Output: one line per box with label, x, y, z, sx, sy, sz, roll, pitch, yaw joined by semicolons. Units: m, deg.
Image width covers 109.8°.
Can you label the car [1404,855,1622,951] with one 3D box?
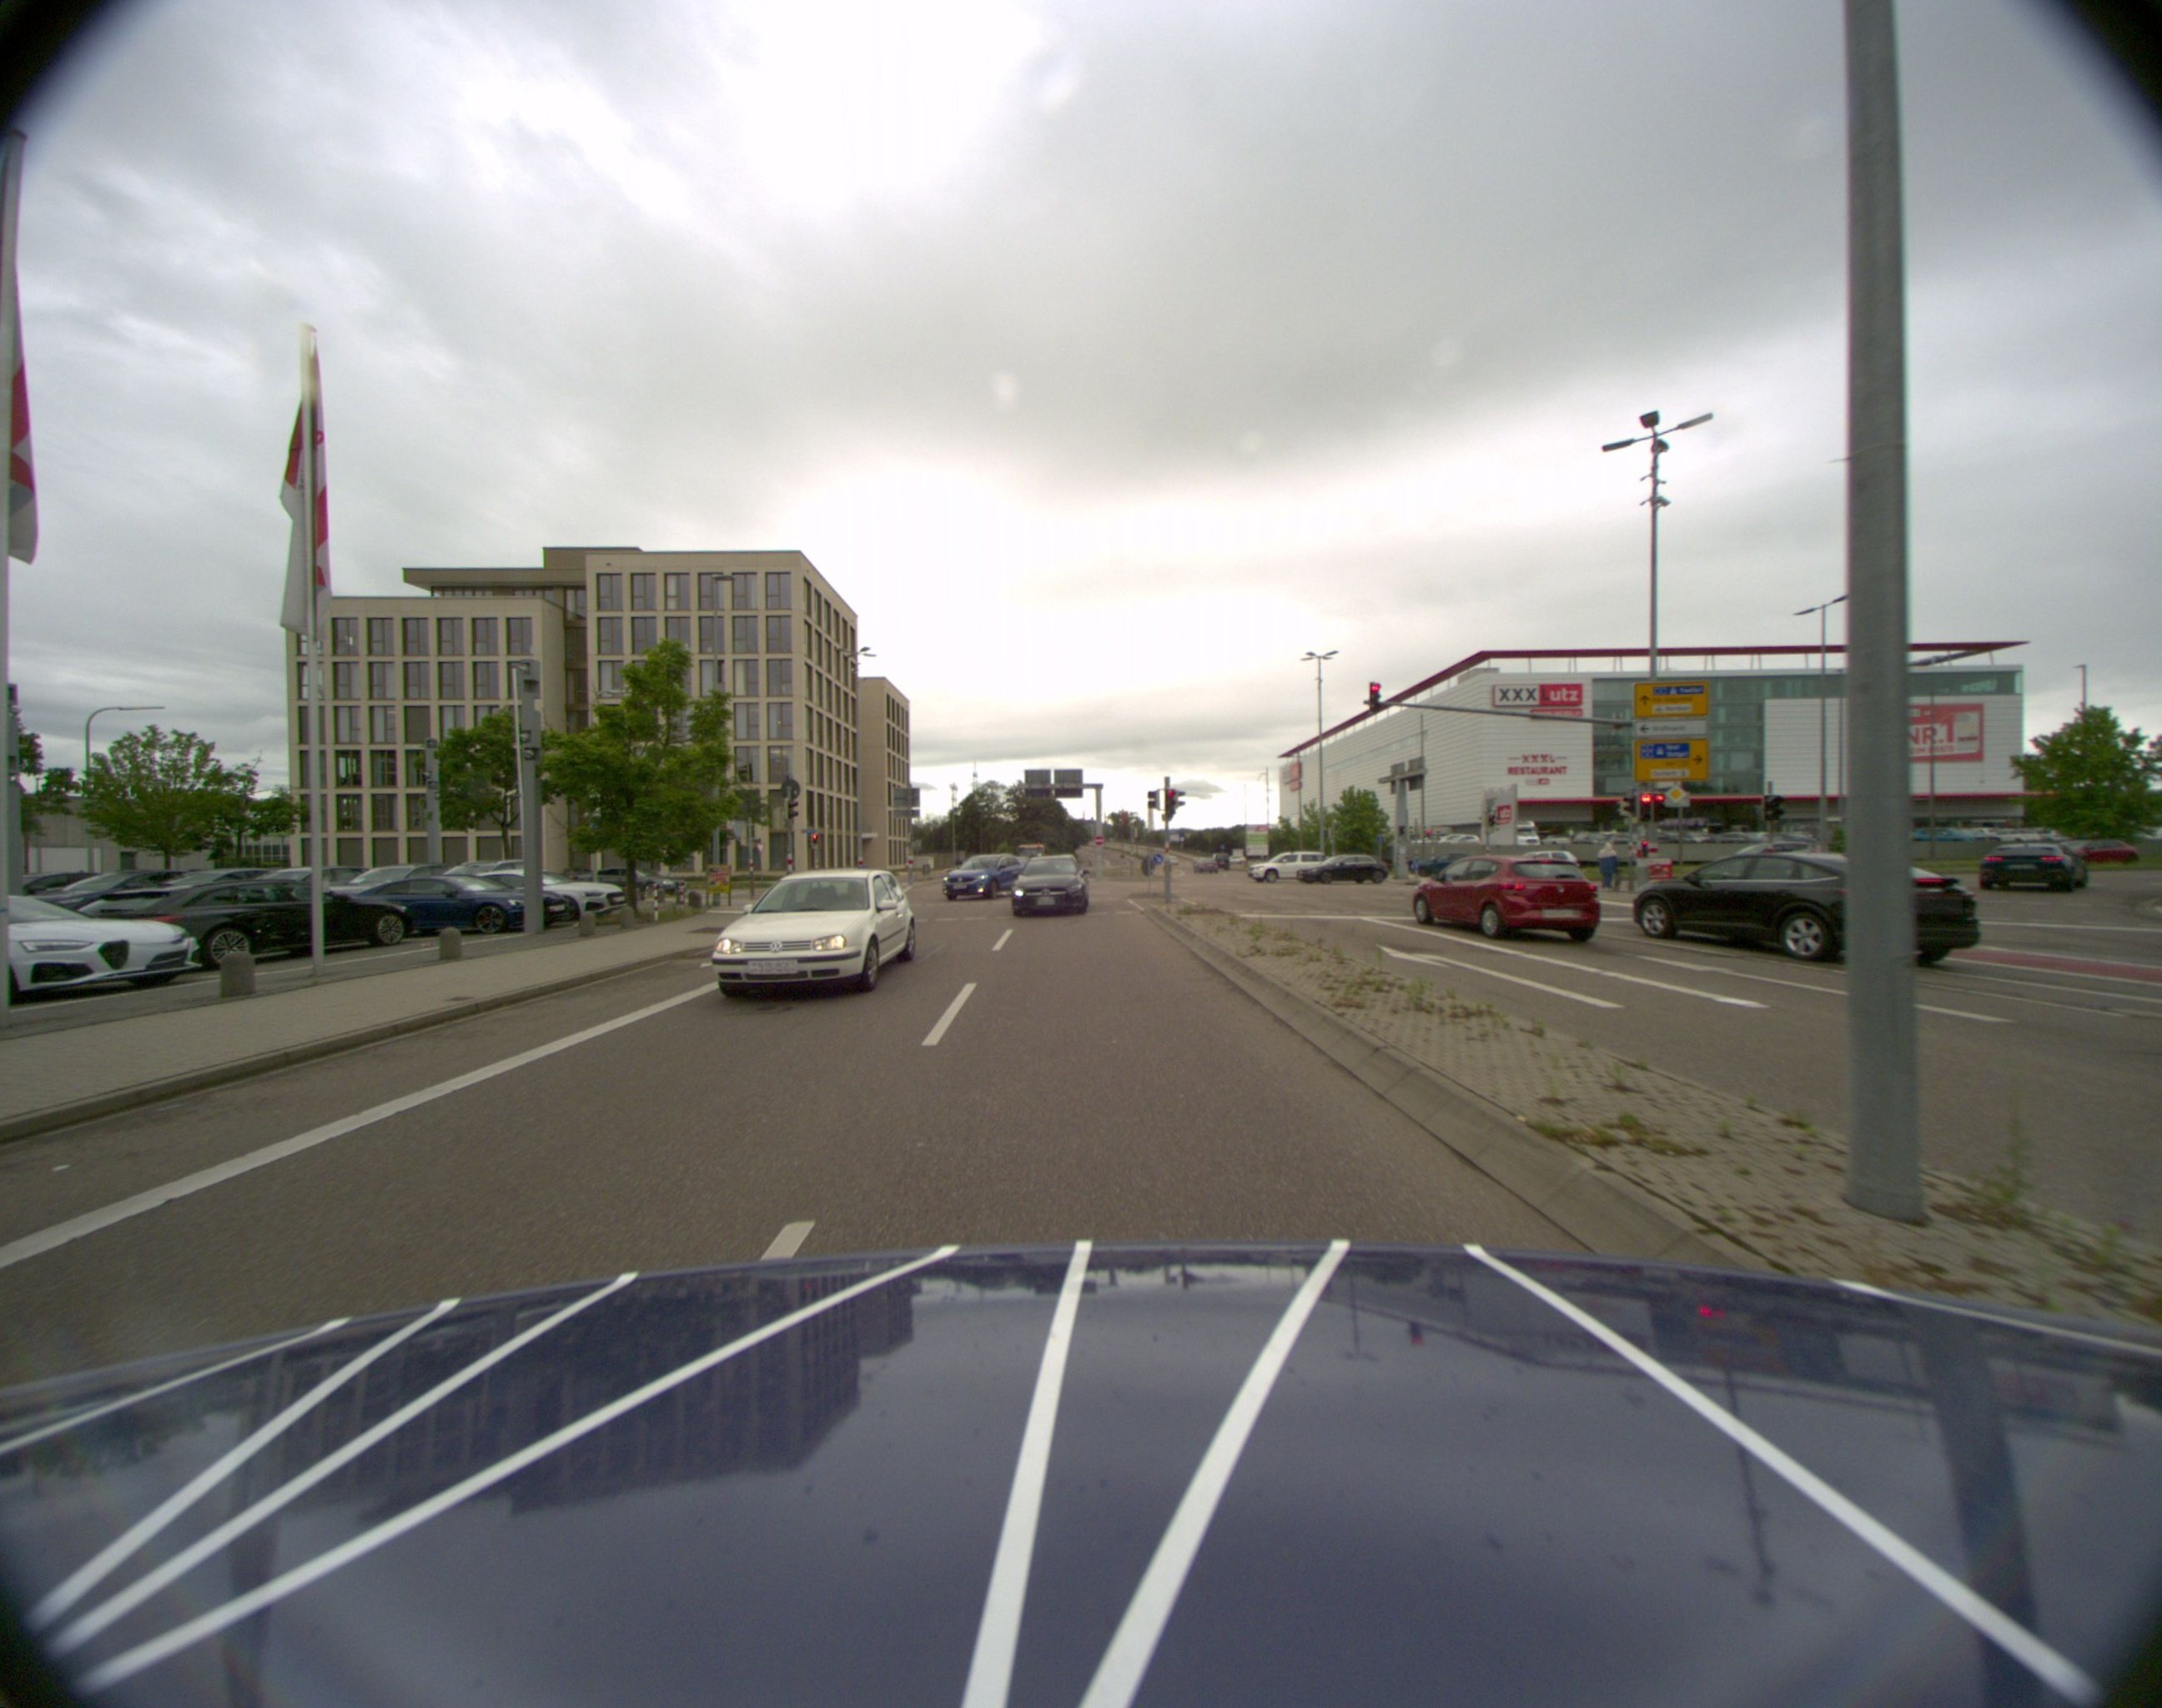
car;7.926;0.806;14.454;1.739;1.479;4.077;0;1;-1

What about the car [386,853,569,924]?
car;-18.891;0.994;24.155;1.999;1.852;4.785;-2;2;-2

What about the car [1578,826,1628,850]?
car;47.432;-1.435;69.141;1.868;1.936;3.870;-2;-1;1

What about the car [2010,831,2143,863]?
car;50.811;-0.347;38.857;4.215;1.407;1.803;-2;-1;2

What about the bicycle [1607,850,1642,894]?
bicycle;18.185;0.588;25.454;0.595;1.388;1.937;1;2;26

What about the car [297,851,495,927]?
car;-21.462;0.995;24.158;1.999;2.002;4.714;-2;2;-1

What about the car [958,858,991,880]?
car;-7.507;1.074;53.899;1.750;1.423;4.099;-2;-2;-1

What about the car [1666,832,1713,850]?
car;67.189;-1.396;83.986;1.999;1.728;4.001;-2;-1;0

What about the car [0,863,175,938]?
car;-32.424;1.402;23.854;1.999;2.002;4.906;-2;2;-2

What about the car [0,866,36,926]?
car;-37.882;1.530;24.333;1.999;2.002;4.906;-2;2;-2

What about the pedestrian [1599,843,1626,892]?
pedestrian;17.934;0.434;25.659;0.639;1.617;0.693;0;2;26

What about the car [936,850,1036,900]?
car;-3.311;0.759;27.474;1.844;1.612;4.339;-2;-2;19

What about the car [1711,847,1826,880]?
car;35.633;0.499;39.473;4.215;1.564;1.803;-2;-1;2

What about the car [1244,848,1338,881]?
car;11.091;0.567;40.272;4.373;1.615;1.800;-2;-1;-4

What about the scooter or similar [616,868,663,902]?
scooter or similar;-16.011;1.125;27.560;1.557;1.211;0.560;-1;-2;17

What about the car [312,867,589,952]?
car;-14.391;1.222;17.593;4.514;1.478;2.069;-4;2;-2

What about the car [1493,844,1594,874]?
car;24.498;0.289;40.344;4.215;1.407;1.803;-2;-1;2

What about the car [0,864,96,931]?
car;-35.135;1.462;23.841;1.999;2.002;4.906;-2;2;-2

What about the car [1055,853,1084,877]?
car;-0.887;0.800;54.366;1.904;1.633;4.068;-2;-2;-3

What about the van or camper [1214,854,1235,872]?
van or camper;16.643;1.066;87.915;2.160;2.001;4.949;1;-1;12

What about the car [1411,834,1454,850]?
car;41.298;-1.396;89.361;4.256;1.665;1.778;-2;-1;2

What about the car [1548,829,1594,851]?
car;47.528;-1.308;73.817;1.868;1.936;3.869;-2;-1;-1

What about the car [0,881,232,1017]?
car;-14.029;1.246;9.702;4.195;1.477;1.852;-4;0;0

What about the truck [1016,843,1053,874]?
truck;-4.219;0.453;69.716;2.819;2.622;6.677;-2;-2;0

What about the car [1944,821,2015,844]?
car;79.375;-1.857;67.144;3.997;1.783;1.891;-2;-1;0

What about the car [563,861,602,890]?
car;-33.101;1.409;50.453;1.892;1.758;4.123;-2;0;-36

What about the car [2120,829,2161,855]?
car;85.571;-1.018;59.635;1.998;2.001;4.328;-2;-1;0

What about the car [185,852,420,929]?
car;-24.466;1.030;24.263;2.265;2.002;5.036;-2;2;-1

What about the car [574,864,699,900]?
car;-20.280;1.262;34.800;4.609;1.542;1.986;-1;0;3

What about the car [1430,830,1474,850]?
car;42.221;-1.578;86.565;3.996;2.001;2.001;-2;-1;4

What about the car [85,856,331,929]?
car;-27.113;1.091;23.949;2.053;1.866;4.959;-2;2;-3

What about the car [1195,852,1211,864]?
car;18.696;0.657;116.545;1.859;1.651;4.002;-2;-1;3

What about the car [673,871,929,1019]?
car;-3.350;1.006;10.009;1.837;1.469;4.005;-2;-1;0

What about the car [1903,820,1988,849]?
car;67.184;-1.488;59.145;1.998;2.001;4.001;-2;-1;0

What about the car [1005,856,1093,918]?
car;-0.713;0.814;19.640;1.858;1.426;4.198;-1;-1;3

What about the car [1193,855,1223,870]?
car;12.075;0.816;72.420;1.817;1.402;4.877;0;-1;-3

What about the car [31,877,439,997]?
car;-14.496;1.305;13.600;1.891;1.477;4.754;-4;0;0

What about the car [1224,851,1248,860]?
car;27.949;0.286;137.172;4.192;1.600;1.724;-2;-2;7

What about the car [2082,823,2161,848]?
car;94.902;-1.664;69.250;1.998;2.001;4.001;-2;-1;0

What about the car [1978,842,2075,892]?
car;30.606;0.366;24.573;4.126;1.479;1.697;0;1;-35

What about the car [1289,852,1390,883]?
car;12.445;0.661;36.680;4.259;1.370;1.767;-1;-1;-10

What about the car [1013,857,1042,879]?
car;-4.233;1.151;60.823;1.999;1.591;4.001;-2;-2;0

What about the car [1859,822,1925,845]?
car;76.555;-1.926;71.730;3.997;2.001;2.000;-2;-1;0

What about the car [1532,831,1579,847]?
car;55.570;-1.772;89.060;4.256;1.665;1.778;-2;-1;2

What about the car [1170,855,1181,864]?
car;16.130;0.960;129.129;1.832;1.401;4.201;0;-2;7

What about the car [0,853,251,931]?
car;-29.615;1.080;23.801;1.999;2.002;4.785;-2;2;-3

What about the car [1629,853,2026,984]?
car;11.324;0.844;12.096;1.885;1.628;4.332;2;1;-3

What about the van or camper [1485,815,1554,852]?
van or camper;42.967;-1.932;74.712;2.712;3.116;7.239;-2;-1;3

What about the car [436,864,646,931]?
car;-14.431;1.126;20.481;4.226;1.477;1.874;-3;1;0
